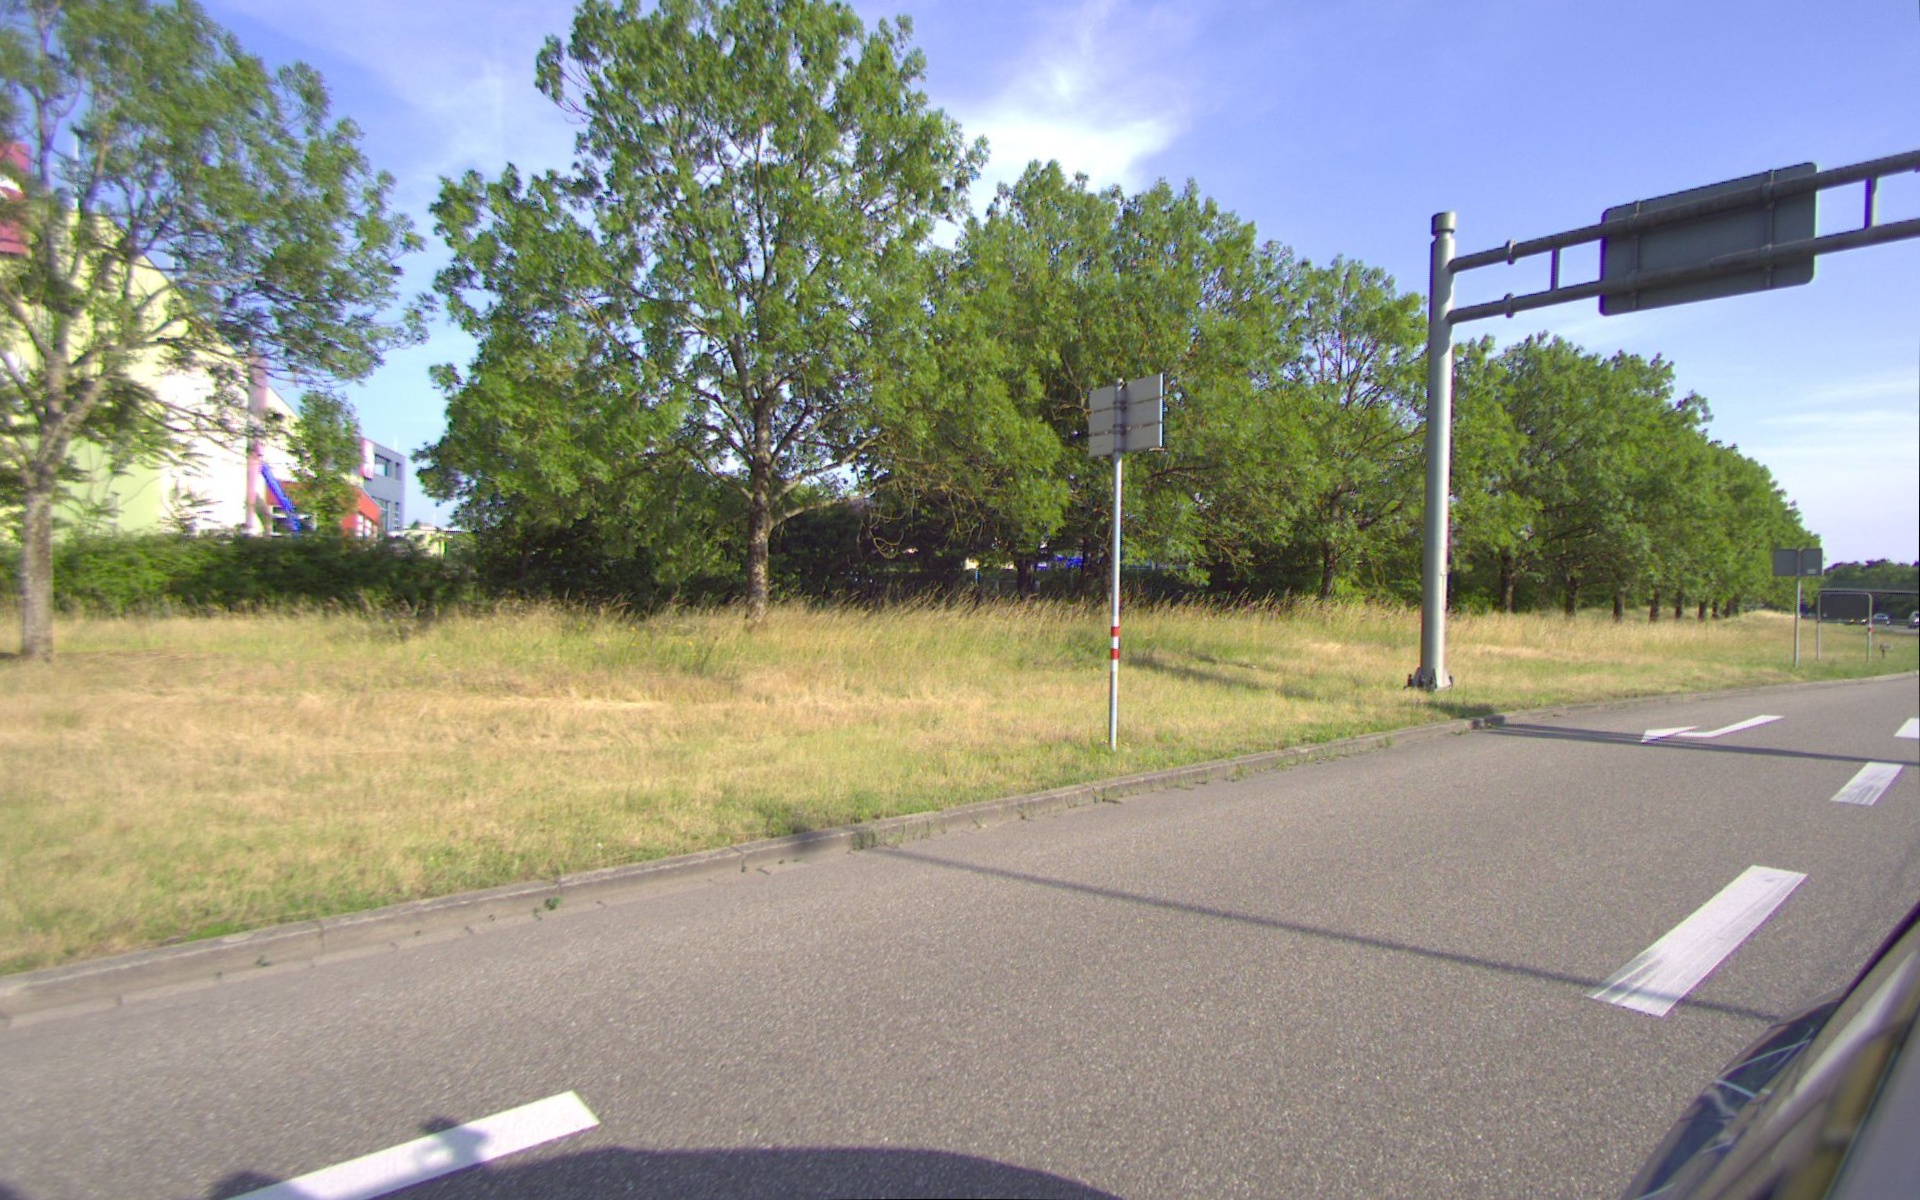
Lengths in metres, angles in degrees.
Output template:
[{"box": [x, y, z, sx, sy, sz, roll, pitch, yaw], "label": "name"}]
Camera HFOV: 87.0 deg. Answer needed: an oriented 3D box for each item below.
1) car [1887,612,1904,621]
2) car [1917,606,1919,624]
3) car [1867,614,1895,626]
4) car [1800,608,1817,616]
[{"box": [156.395, 2.702, 169.209, 1.636, 1.459, 4.147, 0, -1, 35], "label": "car"}, {"box": [100.957, 1.580, 104.913, 1.890, 1.847, 4.301, 0, -1, 34], "label": "car"}, {"box": [111.758, 2.452, 122.814, 1.890, 1.403, 4.301, 0, 0, 34], "label": "car"}, {"box": [156.269, 2.194, 186.355, 1.883, 1.474, 3.863, 2, 2, 33], "label": "car"}]
